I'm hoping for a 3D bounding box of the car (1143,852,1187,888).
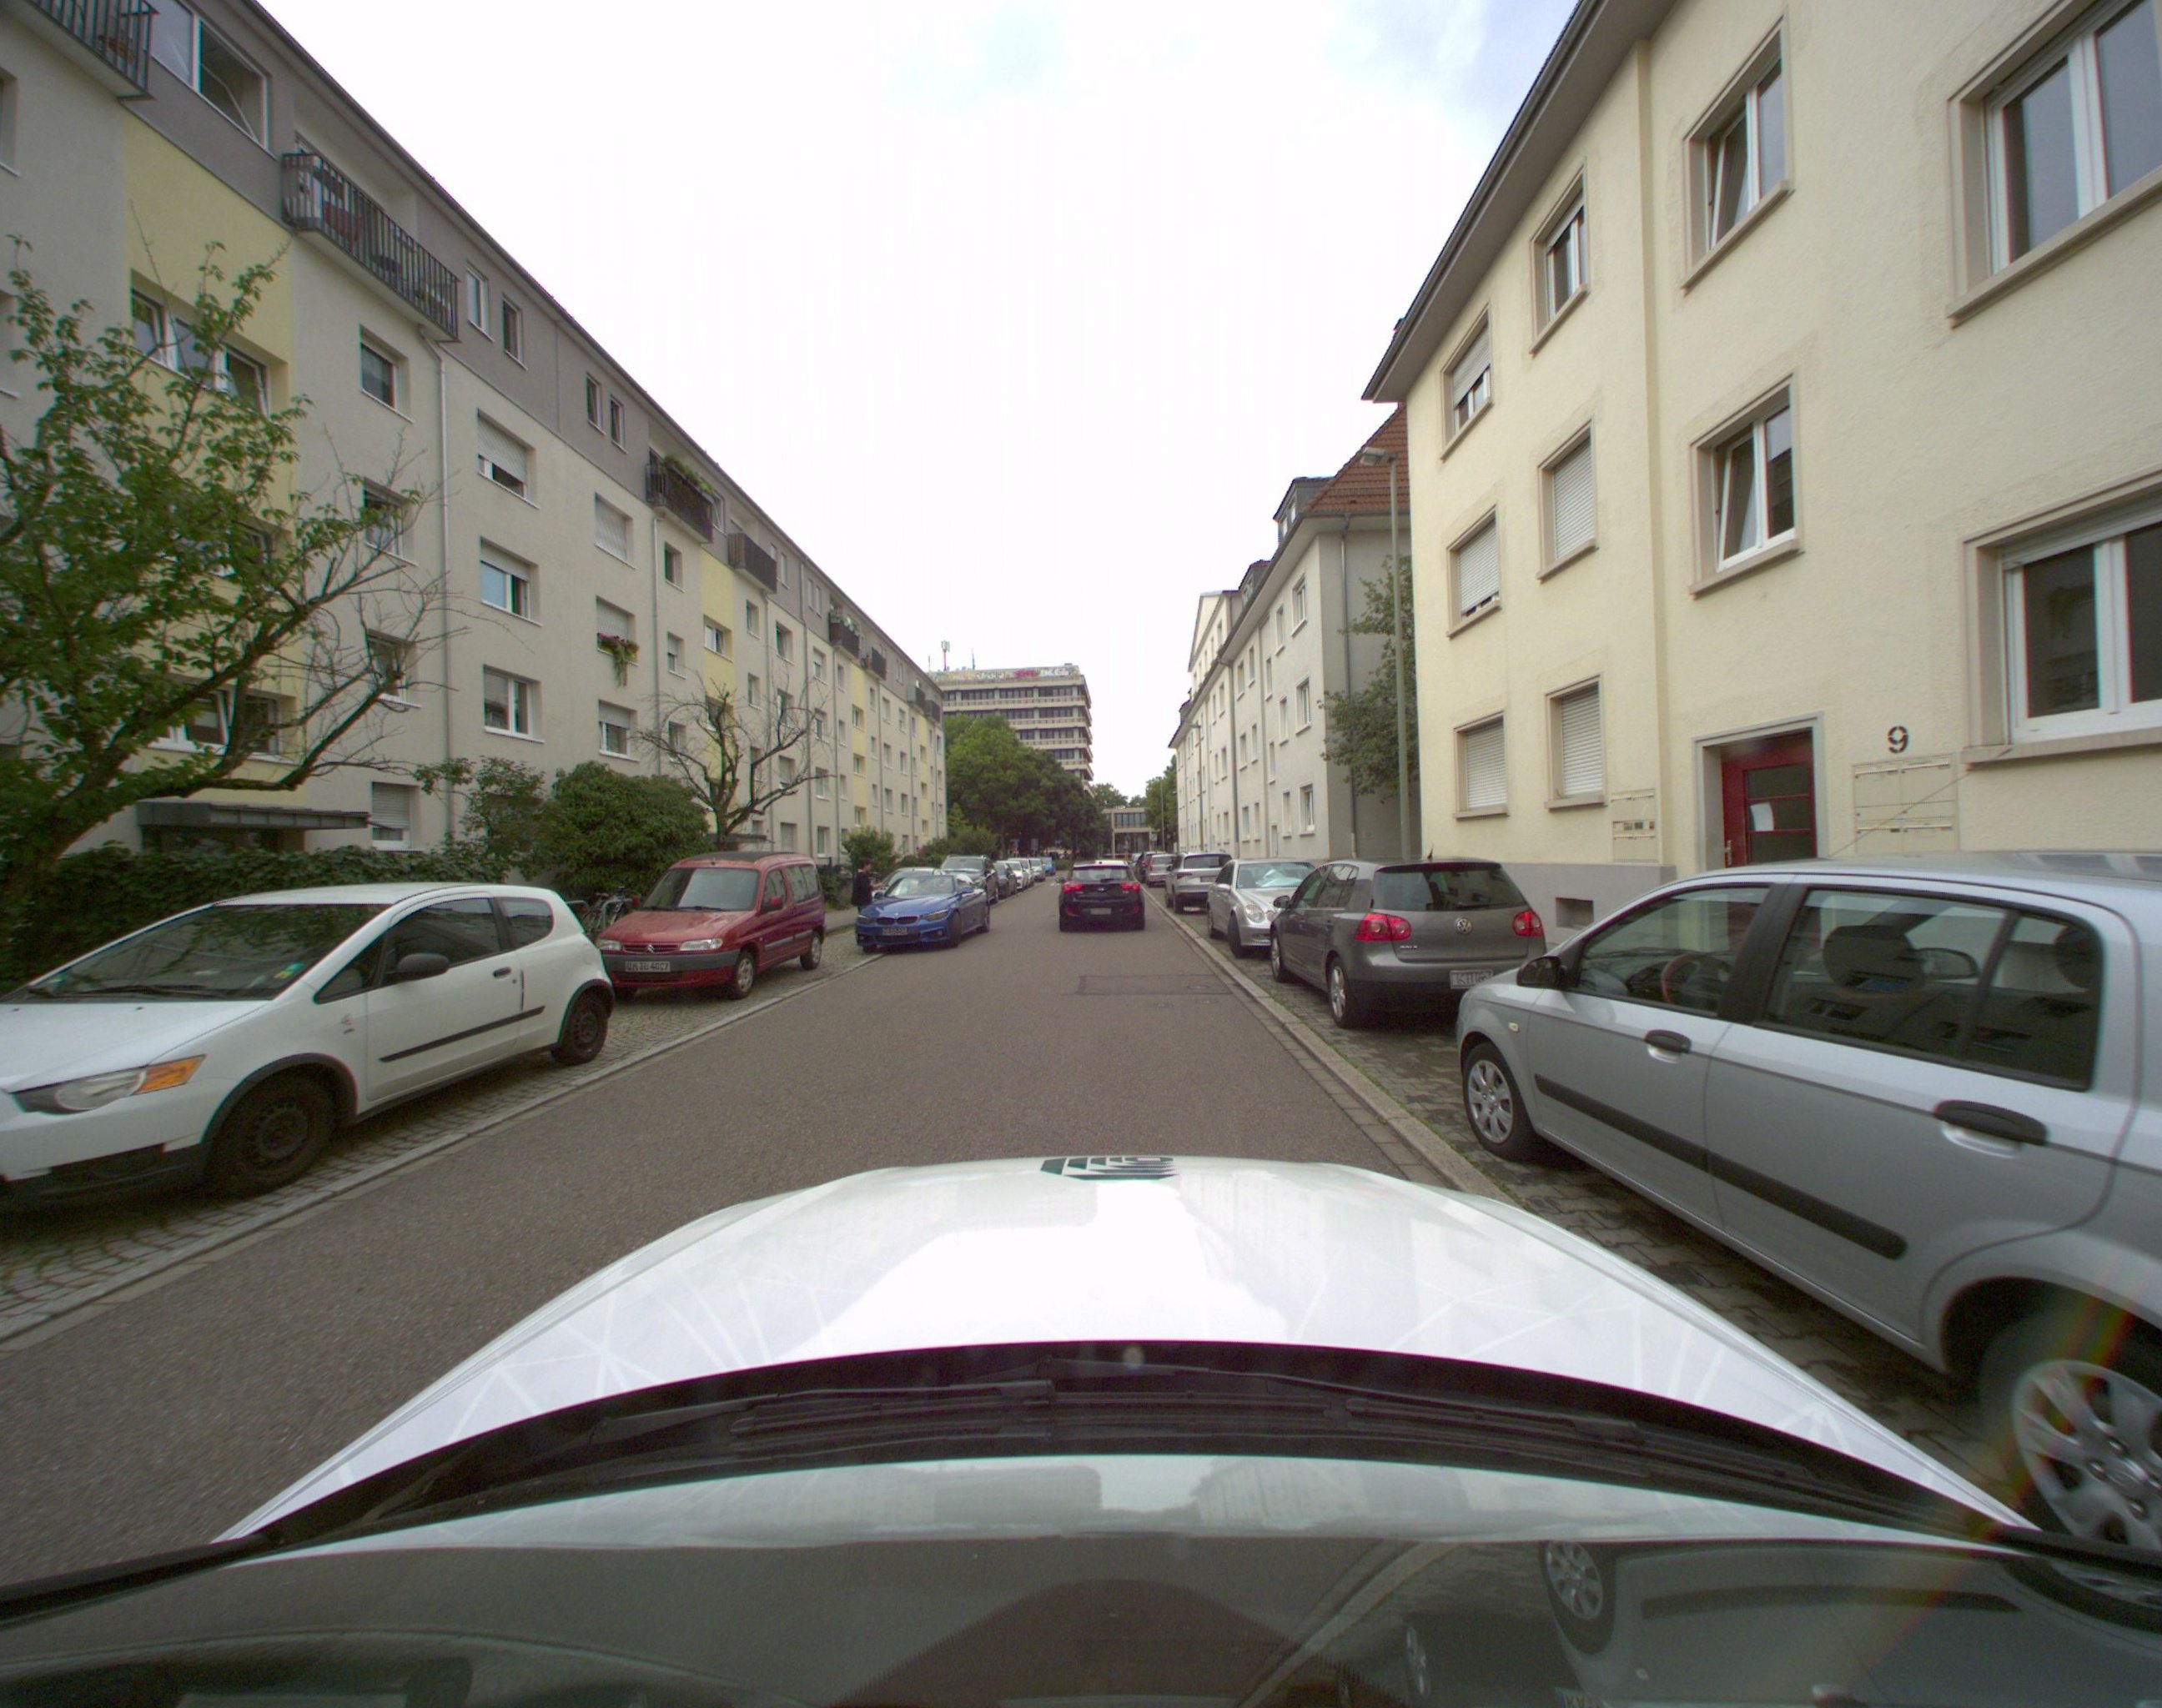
[{"bbox_3d":[3.897,0.712,38.318,1.813,1.503,4.094,-2,0,3],"label":"car"}]

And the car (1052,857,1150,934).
[{"bbox_3d":[0.481,0.834,18.274,1.896,1.433,4.235,-2,0,2],"label":"car"}]

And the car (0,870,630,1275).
[{"bbox_3d":[-4.904,0.924,5.256,1.714,1.570,3.872,0,0,2],"label":"car"}]

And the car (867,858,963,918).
[{"bbox_3d":[-4.522,0.870,22.754,1.738,1.464,3.787,-2,0,2],"label":"car"}]

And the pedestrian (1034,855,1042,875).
[{"bbox_3d":[-3.909,0.985,74.333,0.602,1.831,0.676,-1,0,3],"label":"pedestrian"}]

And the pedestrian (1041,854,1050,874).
[{"bbox_3d":[-3.205,0.884,74.176,0.711,1.831,0.798,-1,0,3],"label":"pedestrian"}]

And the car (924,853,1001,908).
[{"bbox_3d":[-4.013,0.853,28.294,1.888,1.740,4.476,1,0,2],"label":"car"}]

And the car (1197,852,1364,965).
[{"bbox_3d":[2.993,0.730,13.156,1.718,1.476,4.507,-1,0,2],"label":"car"}]

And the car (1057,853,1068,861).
[{"bbox_3d":[-3.120,0.454,138.266,1.659,1.333,3.397,-1,0,2],"label":"car"}]

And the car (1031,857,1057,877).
[{"bbox_3d":[-2.996,1.058,66.371,1.987,1.541,3.999,-1,0,-1],"label":"car"}]

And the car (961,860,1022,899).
[{"bbox_3d":[-3.702,1.024,34.441,1.888,1.452,4.668,1,0,2],"label":"car"}]

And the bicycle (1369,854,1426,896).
[{"bbox_3d":[8.353,0.551,21.507,1.287,1.062,0.498,-2,0,3],"label":"bicycle"}]

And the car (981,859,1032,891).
[{"bbox_3d":[-3.573,0.985,39.808,1.888,1.452,4.523,1,0,2],"label":"car"}]

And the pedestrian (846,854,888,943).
[{"bbox_3d":[-4.314,0.876,16.389,0.742,1.701,0.792,-2,0,-16],"label":"pedestrian"}]

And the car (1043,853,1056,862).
[{"bbox_3d":[-4.783,0.541,124.856,1.659,1.333,3.397,-1,0,2],"label":"car"}]

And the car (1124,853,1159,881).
[{"bbox_3d":[3.624,0.749,49.270,1.814,1.519,4.674,-2,0,1],"label":"car"}]

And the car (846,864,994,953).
[{"bbox_3d":[-3.021,0.977,16.324,1.837,1.451,4.504,-1,0,3],"label":"car"}]

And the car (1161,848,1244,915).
[{"bbox_3d":[3.216,0.689,22.252,1.813,1.642,4.094,-1,0,3],"label":"car"}]

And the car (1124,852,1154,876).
[{"bbox_3d":[3.902,0.629,55.482,1.814,1.519,4.675,-2,0,1],"label":"car"}]

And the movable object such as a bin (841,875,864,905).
[{"bbox_3d":[-7.523,1.174,26.827,0.549,0.954,0.635,-3,0,1],"label":"movable object such as a bin"}]

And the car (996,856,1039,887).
[{"bbox_3d":[-3.527,0.942,45.934,1.888,1.599,4.523,1,0,2],"label":"car"}]

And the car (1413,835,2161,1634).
[{"bbox_3d":[2.879,0.680,2.862,1.843,1.450,3.832,-1,0,0],"label":"car"}]

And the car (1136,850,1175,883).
[{"bbox_3d":[3.889,0.612,43.073,1.813,1.603,4.094,-2,0,3],"label":"car"}]

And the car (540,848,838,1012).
[{"bbox_3d":[-4.941,0.835,11.097,1.950,1.770,4.360,-1,0,-1],"label":"car"}]

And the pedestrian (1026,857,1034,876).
[{"bbox_3d":[-4.652,1.141,74.018,0.598,1.713,0.649,-1,0,3],"label":"pedestrian"}]

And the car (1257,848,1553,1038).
[{"bbox_3d":[2.969,0.704,8.364,1.597,1.476,3.871,-1,0,2],"label":"car"}]

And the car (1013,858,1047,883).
[{"bbox_3d":[-3.355,1.066,54.244,1.987,1.541,3.999,-1,0,-1],"label":"car"}]

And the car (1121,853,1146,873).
[{"bbox_3d":[4.291,0.703,66.714,1.814,1.519,4.674,-1,-1,1],"label":"car"}]
